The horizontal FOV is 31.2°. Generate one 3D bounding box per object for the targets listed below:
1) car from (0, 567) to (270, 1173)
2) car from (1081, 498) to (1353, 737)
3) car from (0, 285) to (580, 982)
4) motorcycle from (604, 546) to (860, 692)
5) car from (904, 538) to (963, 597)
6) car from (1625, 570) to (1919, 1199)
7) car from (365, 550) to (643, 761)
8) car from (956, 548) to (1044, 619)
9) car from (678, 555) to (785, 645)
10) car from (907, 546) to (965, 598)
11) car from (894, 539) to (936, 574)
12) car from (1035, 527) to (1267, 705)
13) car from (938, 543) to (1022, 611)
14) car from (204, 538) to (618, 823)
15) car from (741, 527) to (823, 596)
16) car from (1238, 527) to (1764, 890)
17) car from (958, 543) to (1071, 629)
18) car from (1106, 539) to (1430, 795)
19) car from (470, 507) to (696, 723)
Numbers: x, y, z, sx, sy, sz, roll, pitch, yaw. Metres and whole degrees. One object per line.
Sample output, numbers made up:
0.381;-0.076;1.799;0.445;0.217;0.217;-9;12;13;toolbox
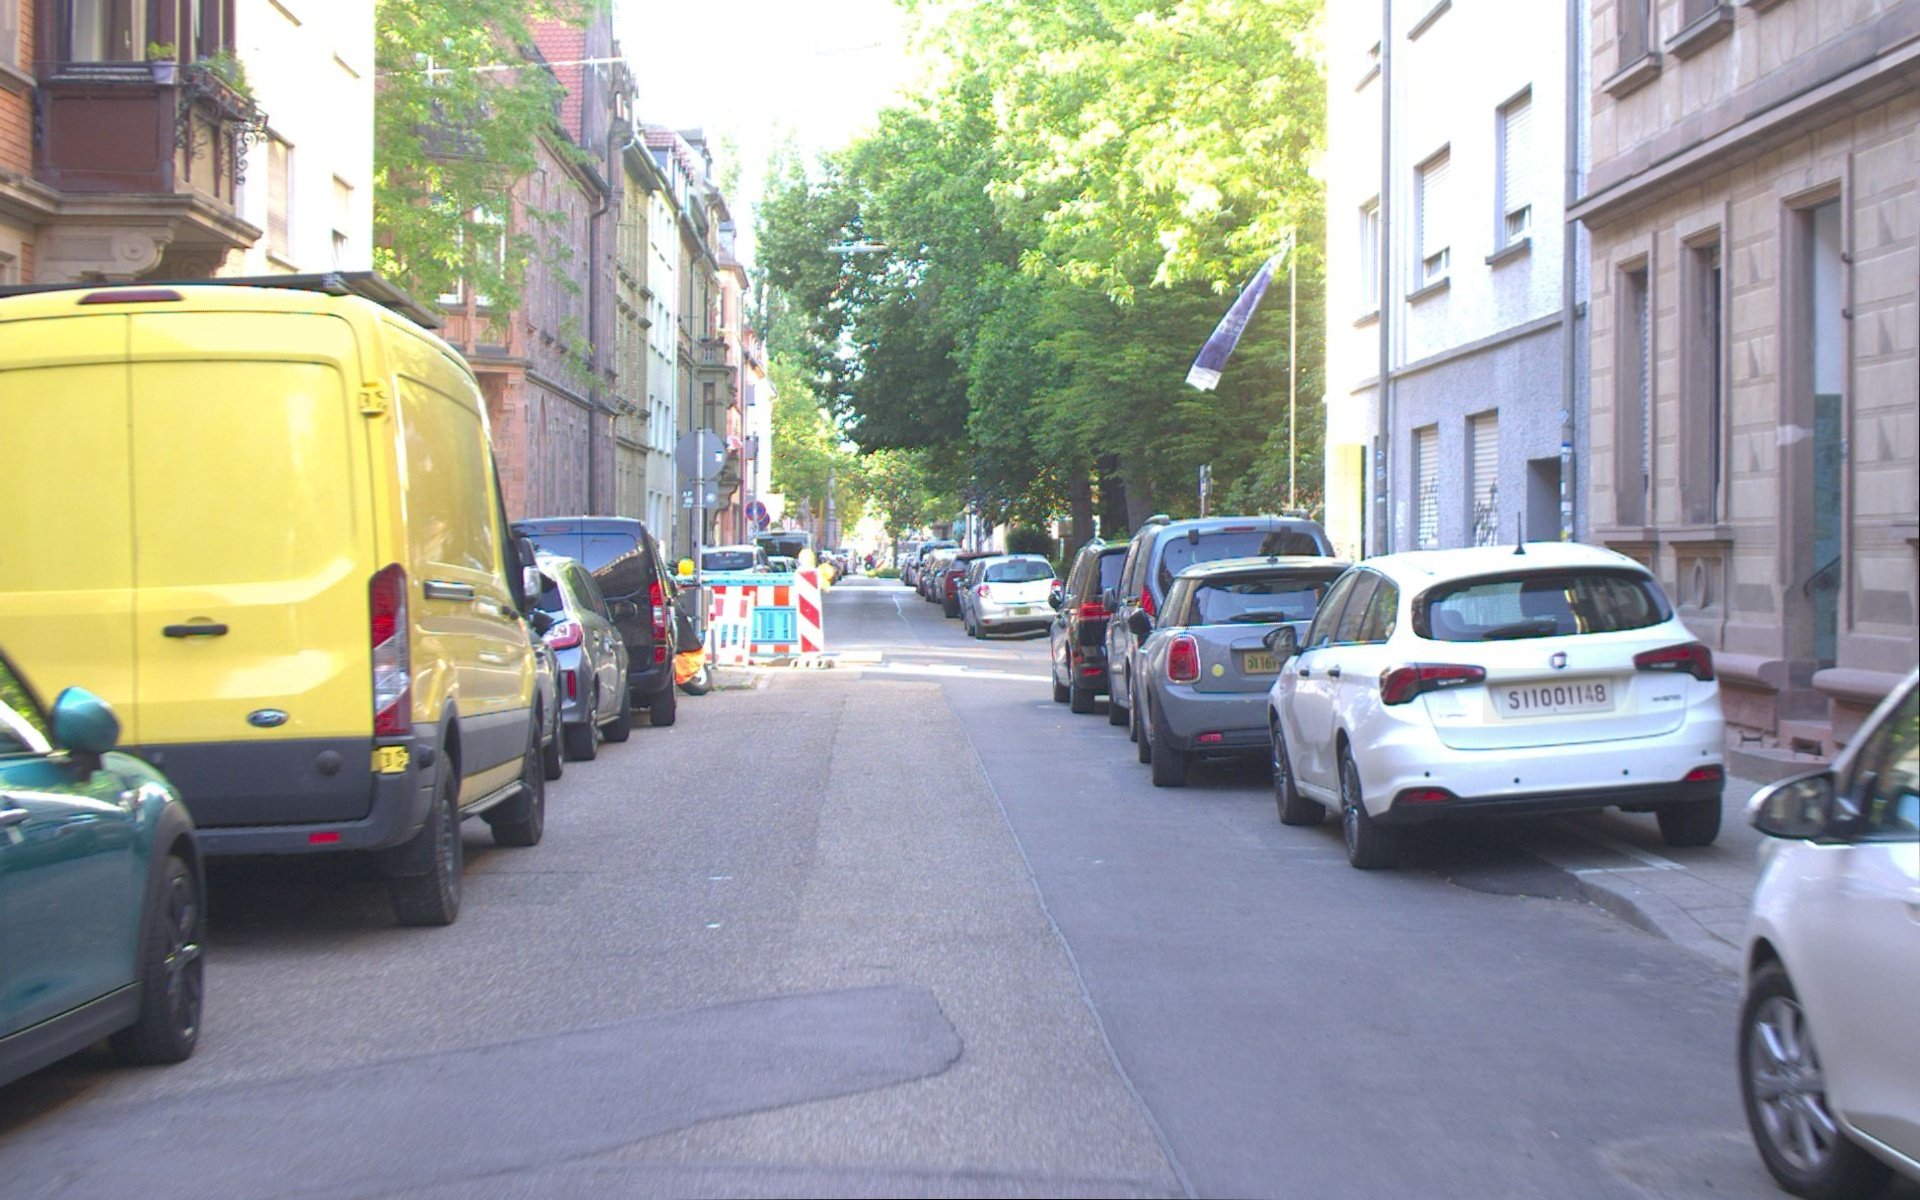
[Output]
-3.146;0.701;8.913;1.718;1.408;3.897;-5;1;2;car
2.083;0.081;29.104;1.753;1.780;4.724;-3;1;-1;car
-3.098;0.083;15.578;2.175;2.499;5.879;-2;1;-2;car
-2.372;0.187;35.920;2.512;1.477;0.904;0;1;-28;motorcycle
-1.065;-1.266;134.832;2.160;2.248;4.526;0;0;-2;car
2.748;0.686;7.150;1.720;1.475;4.083;-4;1;-2;car
-3.353;0.363;25.829;1.677;1.444;3.645;1;1;-1;car
0.900;-0.404;79.650;1.841;1.590;4.000;0;1;-2;car
-4.572;-0.014;69.251;1.882;1.701;4.000;-1;0;-1;car
-0.830;-0.958;115.527;1.829;1.698;4.001;0;1;-2;car
-2.270;-2.176;172.567;1.993;1.722;4.000;0;1;-2;car
1.801;0.130;33.772;1.900;1.634;4.391;0;0;-2;car
0.458;-0.561;84.474;1.894;1.620;4.000;0;0;-2;car
-3.213;0.406;20.902;1.993;1.546;4.000;0;1;-2;car
-5.516;-1.195;107.255;2.309;2.107;5.170;0;0;0;car
2.634;0.445;17.789;1.753;1.513;4.444;-4;1;-2;car
0.975;-0.289;63.282;1.723;1.517;4.001;-1;1;-4;car
2.022;0.383;23.669;1.754;1.448;4.288;-4;1;0;car
-3.248;0.092;30.268;1.818;1.760;4.336;0;1;-4;car
